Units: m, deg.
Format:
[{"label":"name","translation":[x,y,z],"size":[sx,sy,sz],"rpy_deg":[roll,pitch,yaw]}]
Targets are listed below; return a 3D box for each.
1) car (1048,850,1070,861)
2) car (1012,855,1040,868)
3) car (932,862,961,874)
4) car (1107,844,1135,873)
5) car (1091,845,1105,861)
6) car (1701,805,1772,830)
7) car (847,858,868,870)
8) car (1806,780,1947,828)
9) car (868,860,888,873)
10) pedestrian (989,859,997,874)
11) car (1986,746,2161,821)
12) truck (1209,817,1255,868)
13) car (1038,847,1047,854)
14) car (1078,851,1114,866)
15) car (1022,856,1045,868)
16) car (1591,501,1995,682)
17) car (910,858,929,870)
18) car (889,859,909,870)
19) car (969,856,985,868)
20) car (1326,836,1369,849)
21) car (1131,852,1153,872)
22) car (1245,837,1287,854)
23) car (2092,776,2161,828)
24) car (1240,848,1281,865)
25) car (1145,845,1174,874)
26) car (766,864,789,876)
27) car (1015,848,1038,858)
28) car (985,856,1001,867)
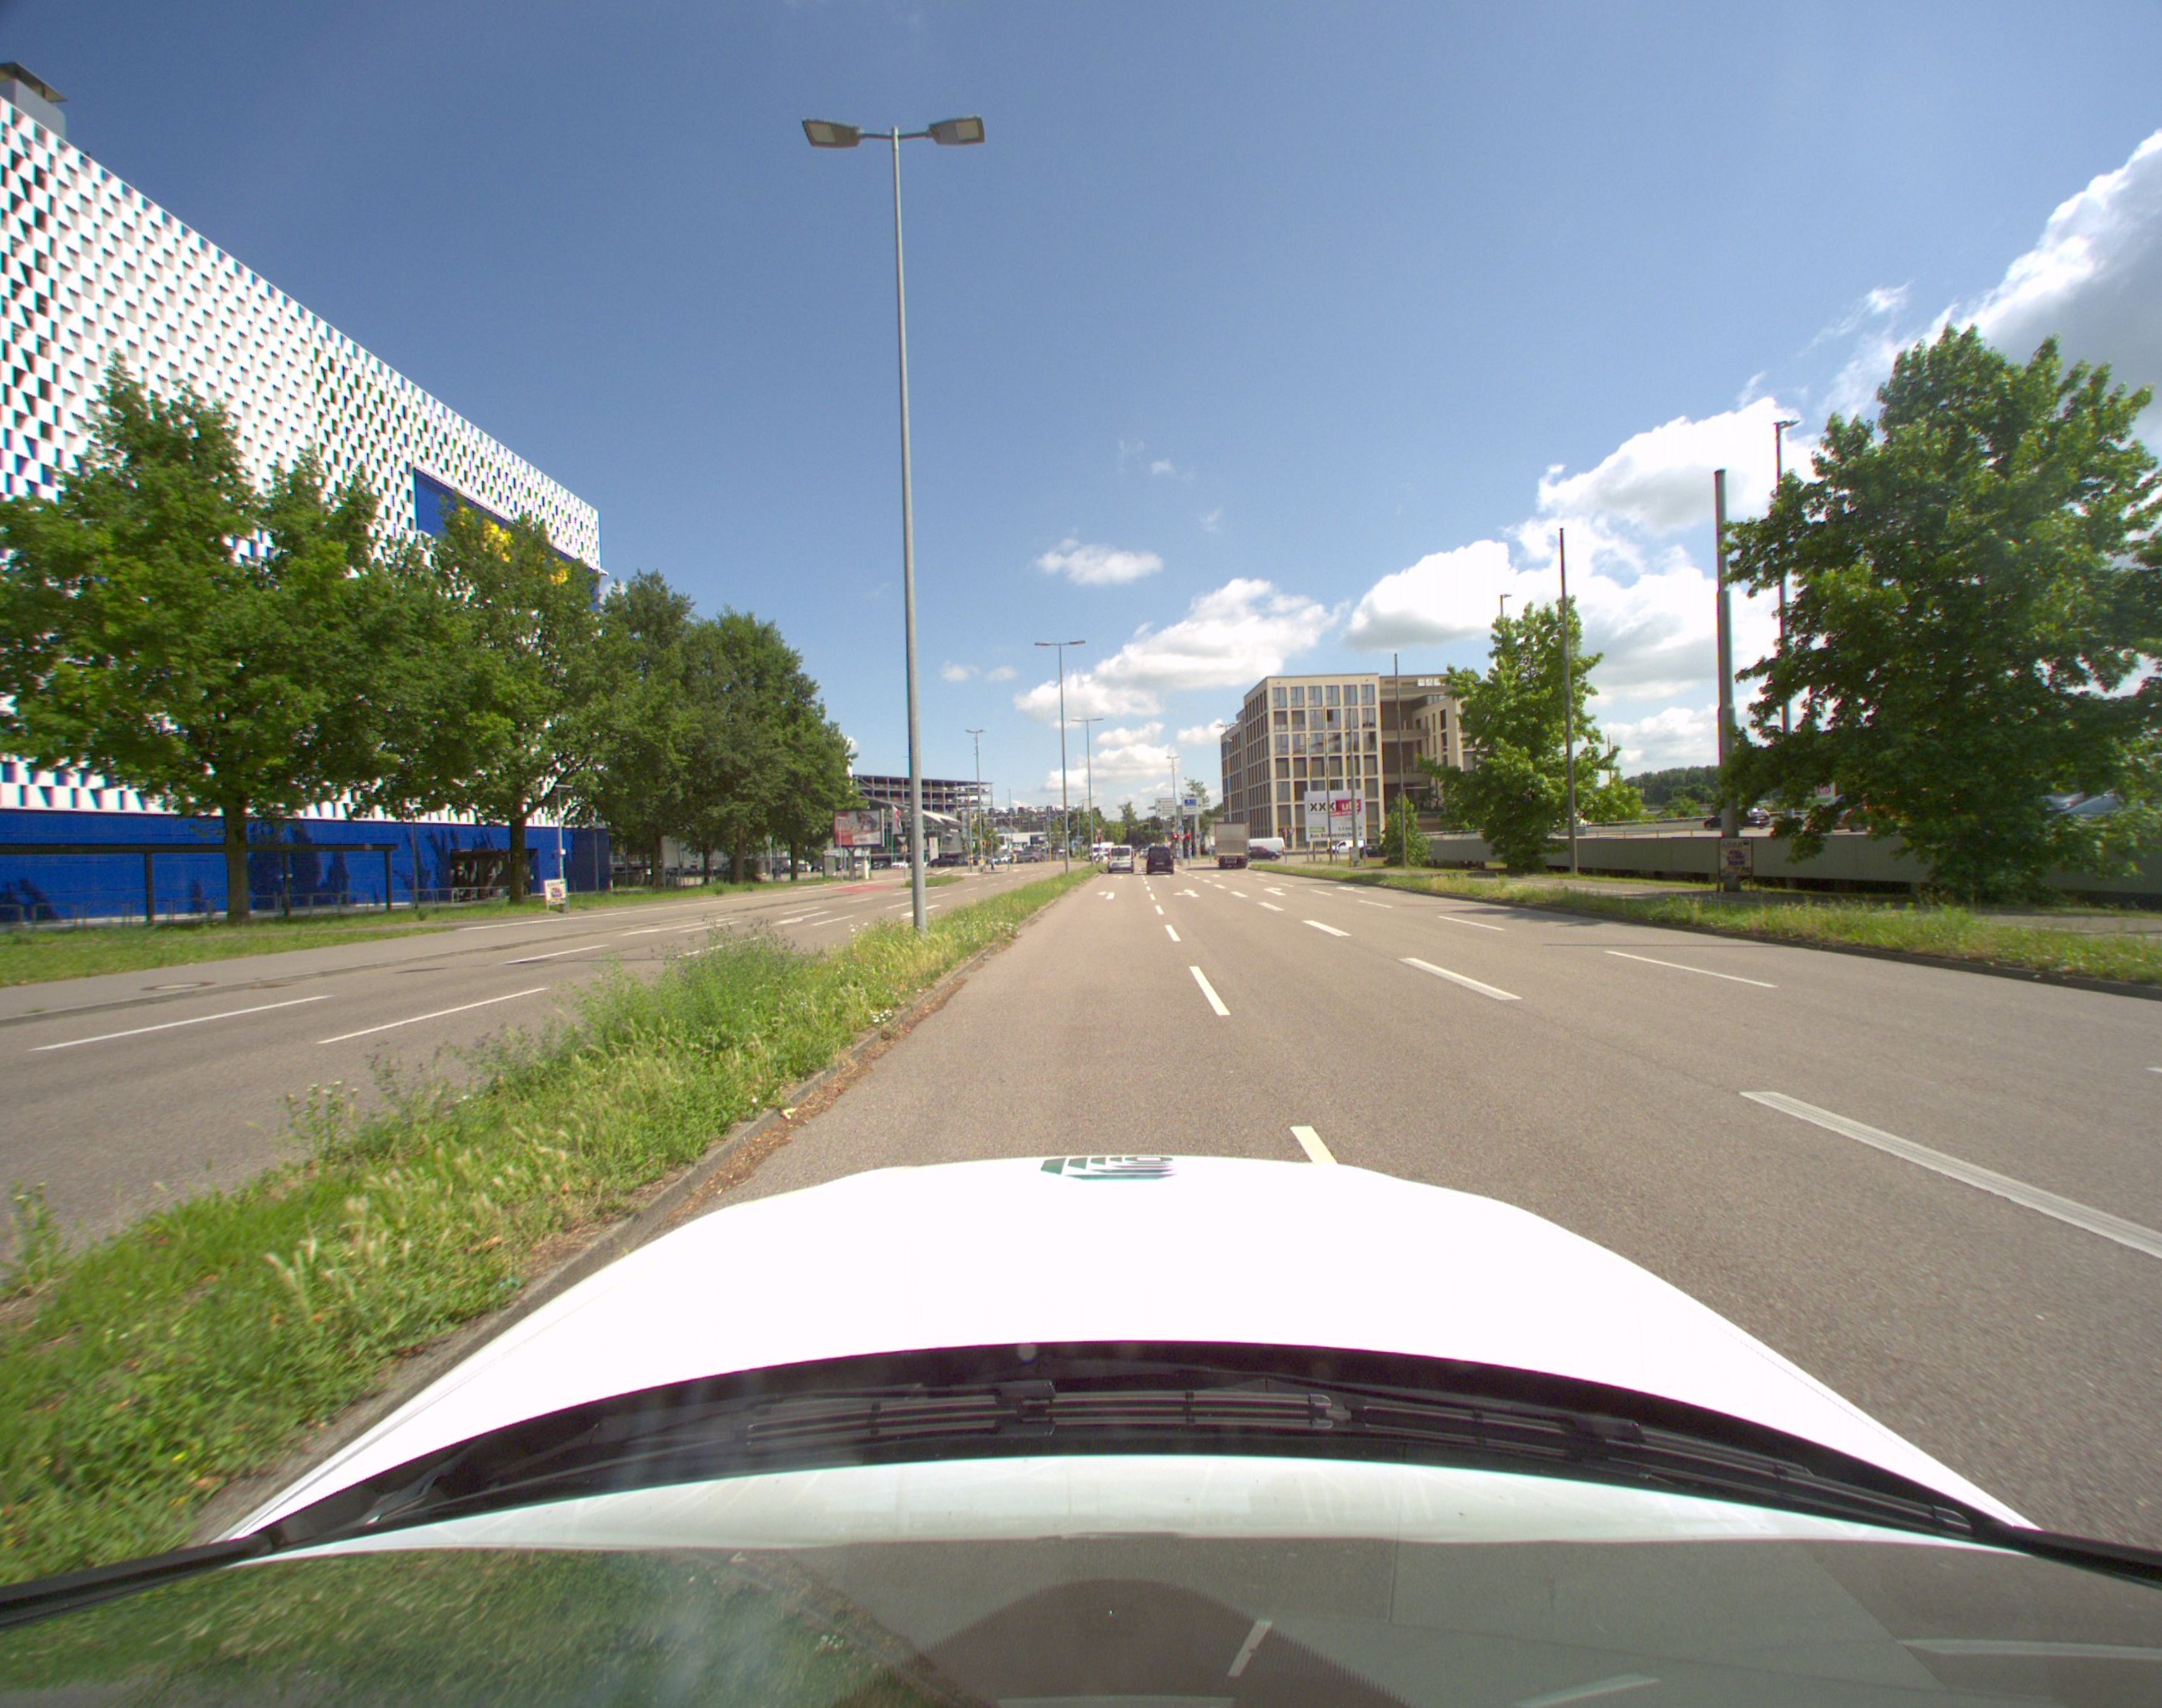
[{"label":"car","translation":[-4.105,0.342,149.663],"size":[3.978,1.926,1.825],"rpy_deg":[-1,0,-3]},{"label":"car","translation":[-7.934,1.126,118.017],"size":[3.849,1.639,1.857],"rpy_deg":[-3,0,-1]},{"label":"car","translation":[-18.578,1.953,112.793],"size":[3.782,1.513,1.678],"rpy_deg":[-1,0,-2]},{"label":"car","translation":[2.938,0.283,59.448],"size":[1.847,2.018,4.007],"rpy_deg":[-1,1,5]},{"label":"car","translation":[2.579,-0.154,120.860],"size":[1.964,2.256,4.983],"rpy_deg":[-3,1,2]},{"label":"car","translation":[46.576,-2.560,57.957],"size":[1.864,1.521,3.865],"rpy_deg":[-2,-1,-1]},{"label":"car","translation":[-31.008,1.382,112.971],"size":[1.873,1.486,3.700],"rpy_deg":[-1,1,0]},{"label":"car","translation":[40.077,-2.497,41.136],"size":[5.143,2.195,1.987],"rpy_deg":[-1,-1,0]},{"label":"car","translation":[-28.119,1.751,112.901],"size":[1.751,1.660,3.616],"rpy_deg":[-1,1,-1]},{"label":"pedestrian","translation":[-8.585,1.229,79.399],"size":[0.464,1.512,0.515],"rpy_deg":[-1,-1,28]},{"label":"car","translation":[36.062,-2.480,28.879],"size":[5.641,2.366,2.061],"rpy_deg":[-1,-1,-1]},{"label":"truck","translation":[12.811,-0.932,68.406],"size":[3.107,3.940,8.893],"rpy_deg":[-1,1,15]},{"label":"car","translation":[-8.062,-0.736,170.591],"size":[1.840,1.530,3.999],"rpy_deg":[-1,1,-1]},{"label":"car","translation":[1.625,0.457,88.248],"size":[3.842,1.466,1.694],"rpy_deg":[-1,0,-3]},{"label":"car","translation":[-7.561,1.198,129.193],"size":[3.497,1.712,1.603],"rpy_deg":[-3,0,-1]},{"label":"car","translation":[8.547,-3.135,10.000],"size":[3.572,1.652,1.621],"rpy_deg":[-1,0,-1]},{"label":"car","translation":[-22.445,1.381,113.186],"size":[1.770,1.450,4.029],"rpy_deg":[-1,1,0]},{"label":"car","translation":[-25.279,1.439,113.157],"size":[1.901,1.376,3.751],"rpy_deg":[-1,1,0]},{"label":"car","translation":[-14.434,1.107,113.160],"size":[1.819,1.552,3.982],"rpy_deg":[-1,0,-13]},{"label":"car","translation":[35.263,-1.484,107.805],"size":[4.965,1.607,2.000],"rpy_deg":[-1,0,0]},{"label":"car","translation":[4.937,0.618,65.770],"size":[1.732,1.543,4.005],"rpy_deg":[-1,-1,4]},{"label":"car","translation":[25.370,-1.142,111.861],"size":[5.459,2.255,2.007],"rpy_deg":[-1,0,12]},{"label":"car","translation":[35.339,-1.670,25.988],"size":[3.975,1.515,1.747],"rpy_deg":[-1,-1,-1]},{"label":"car","translation":[19.358,0.273,87.958],"size":[4.119,1.503,1.631],"rpy_deg":[-3,0,10]},{"label":"car","translation":[5.289,0.361,54.627],"size":[1.810,1.809,4.007],"rpy_deg":[-1,0,6]},{"label":"car","translation":[-41.466,2.118,111.219],"size":[1.832,1.488,3.699],"rpy_deg":[-1,1,-1]},{"label":"car","translation":[-10.037,-0.147,149.285],"size":[4.155,1.713,1.687],"rpy_deg":[0,0,-3]},{"label":"car","translation":[-12.292,1.065,113.580],"size":[1.819,1.552,3.982],"rpy_deg":[-1,0,-13]}]
